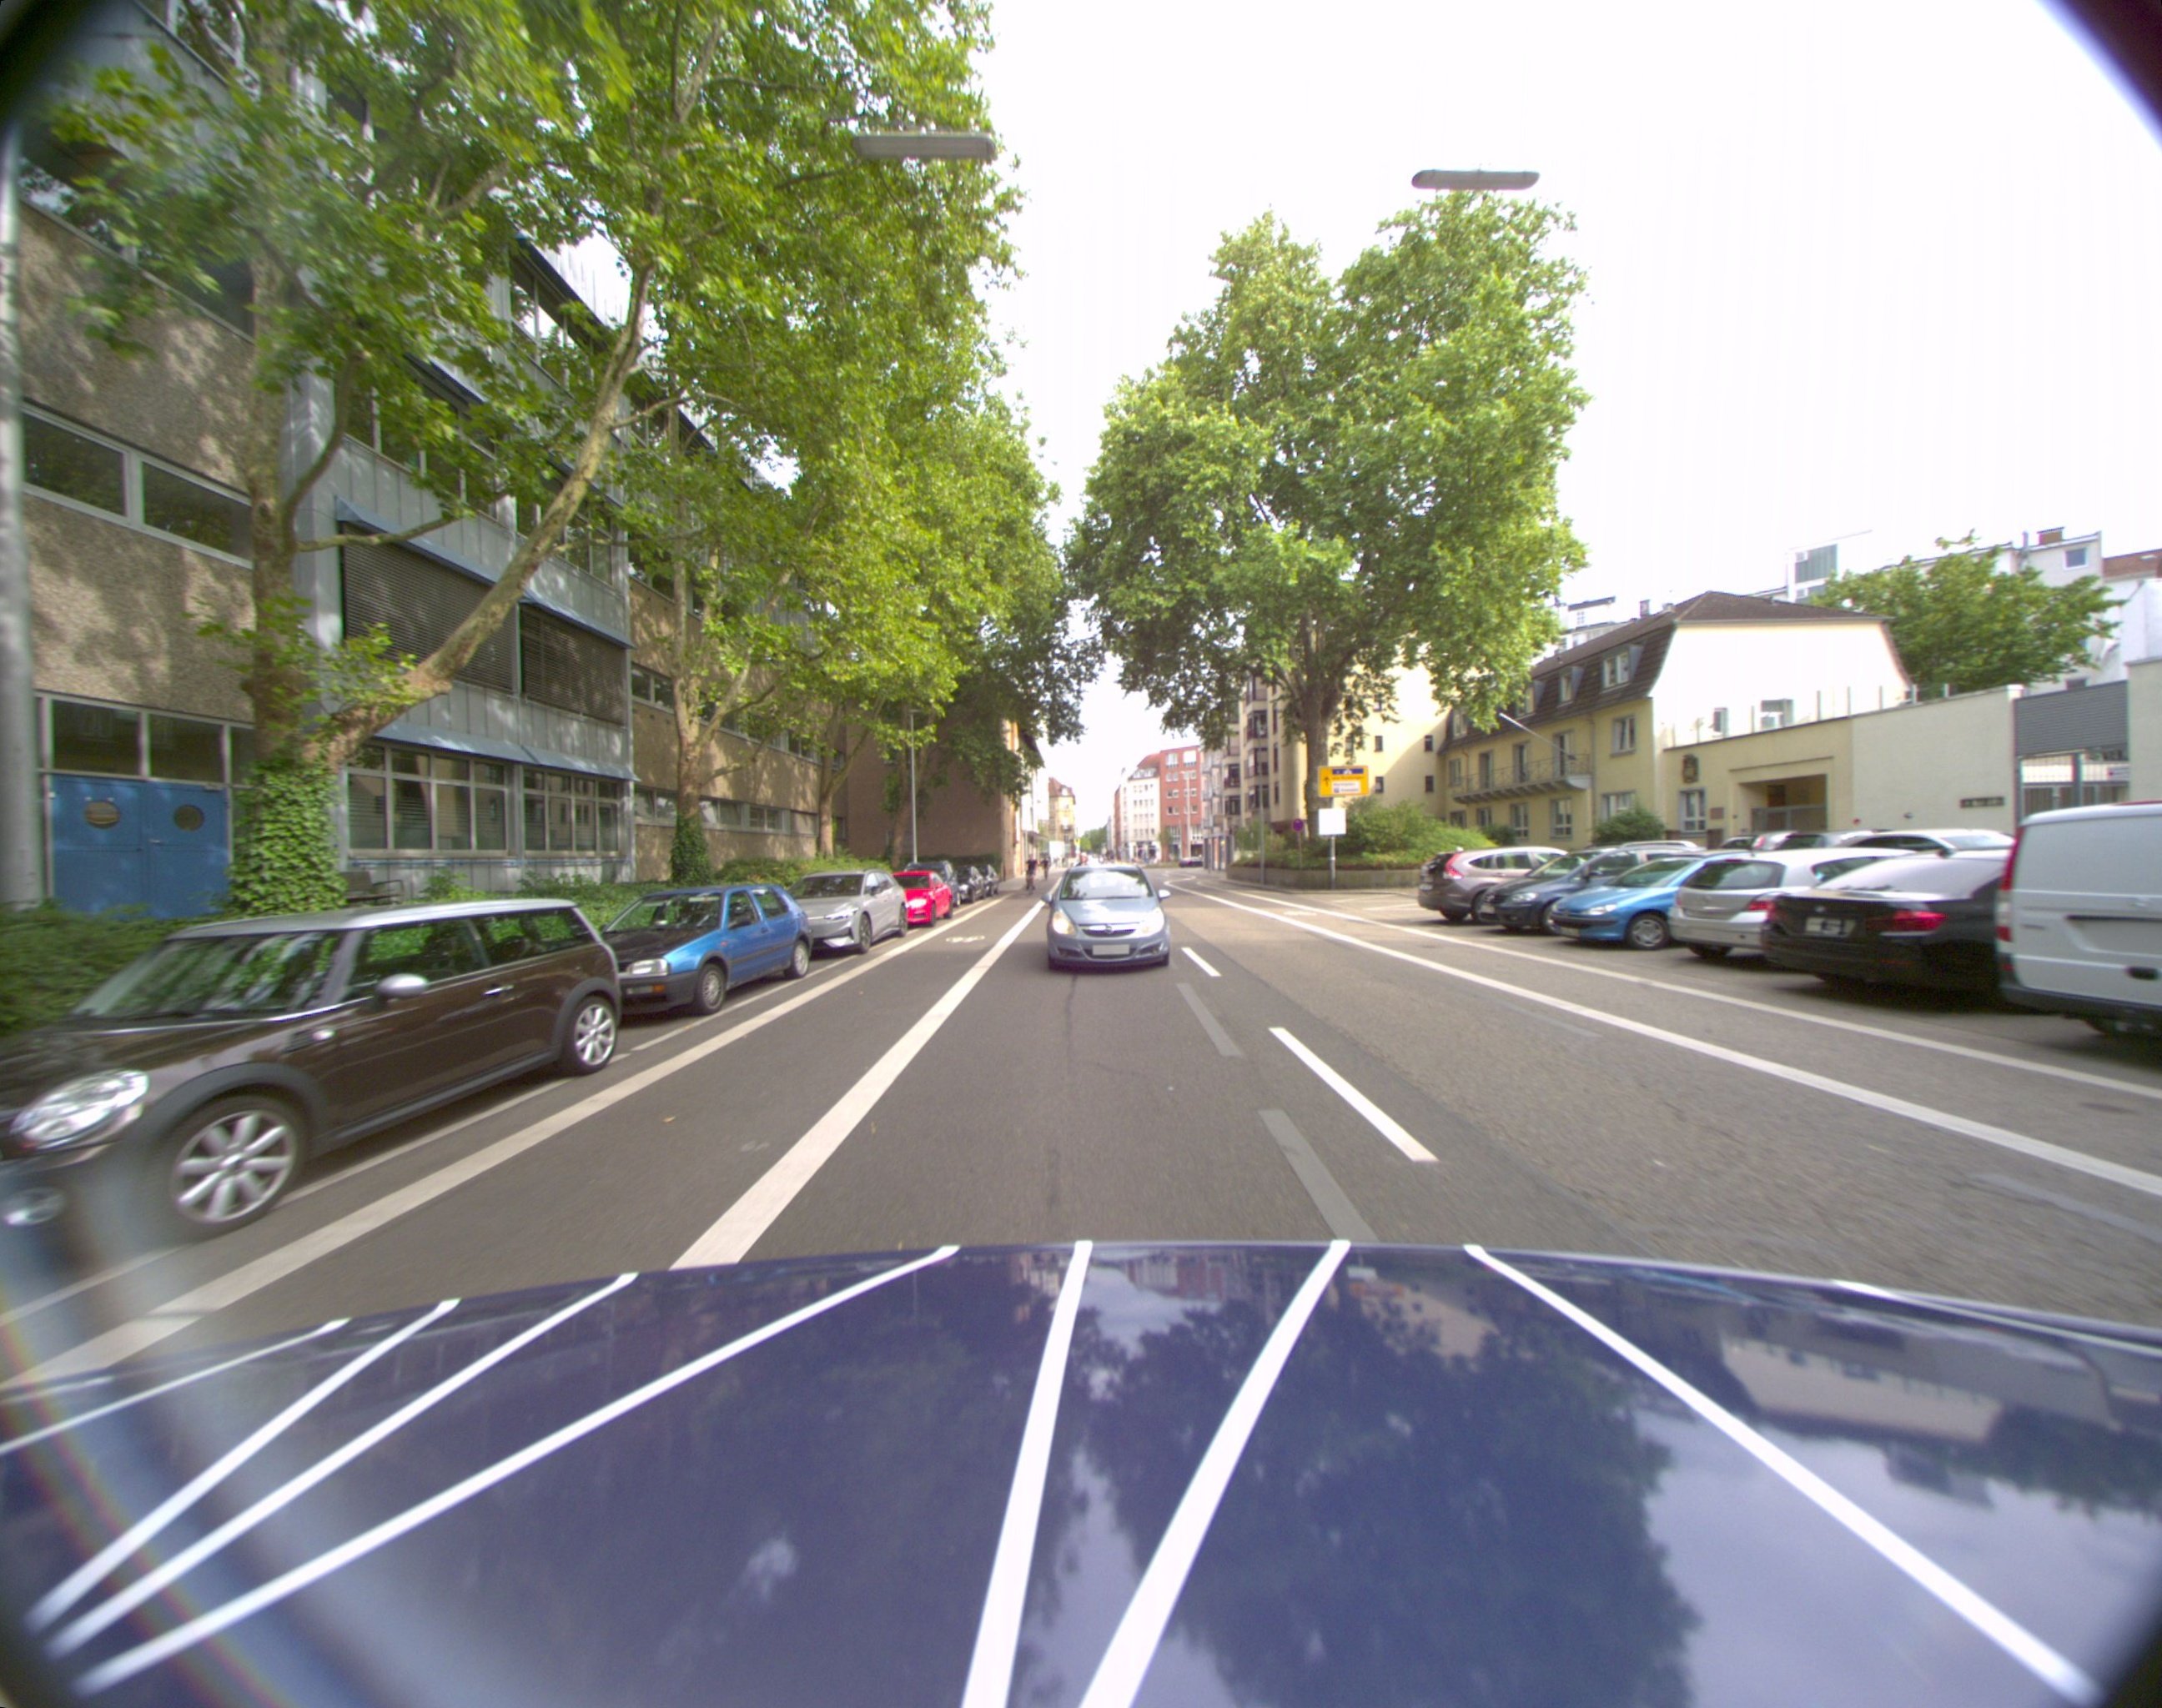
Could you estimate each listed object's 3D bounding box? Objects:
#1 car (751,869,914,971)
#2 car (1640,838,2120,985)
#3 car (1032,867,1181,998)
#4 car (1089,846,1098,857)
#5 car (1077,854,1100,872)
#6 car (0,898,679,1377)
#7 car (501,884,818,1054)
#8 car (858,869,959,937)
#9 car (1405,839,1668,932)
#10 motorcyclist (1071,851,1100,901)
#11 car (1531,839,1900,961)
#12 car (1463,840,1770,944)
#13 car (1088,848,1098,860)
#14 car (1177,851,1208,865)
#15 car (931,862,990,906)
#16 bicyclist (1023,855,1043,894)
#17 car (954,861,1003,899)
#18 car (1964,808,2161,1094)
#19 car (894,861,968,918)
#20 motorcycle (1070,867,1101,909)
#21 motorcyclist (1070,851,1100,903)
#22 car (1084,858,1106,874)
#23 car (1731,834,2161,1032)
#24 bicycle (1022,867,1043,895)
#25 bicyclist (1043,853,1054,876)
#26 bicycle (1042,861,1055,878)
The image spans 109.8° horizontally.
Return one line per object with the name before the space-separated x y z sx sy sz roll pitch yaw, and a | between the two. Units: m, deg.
car | -4.608 1.144 14.838 1.602 1.496 4.440 -3 0 0
car | 9.943 0.673 9.724 4.203 1.443 1.719 -4 0 1
car | 0.318 0.968 11.117 1.717 1.412 4.253 -2 0 0
car | 2.846 -0.567 172.886 1.998 2.620 4.798 -2 0 1
car | 0.652 0.790 69.491 2.000 1.556 4.550 -2 0 0
car | -4.662 1.177 4.849 1.644 1.424 4.573 -3 0 0
car | -4.796 1.198 9.394 1.602 1.414 3.956 -3 0 0
car | -4.419 1.210 20.077 1.602 1.438 4.105 -3 0 0
car | 9.687 0.648 16.426 4.529 1.596 1.754 -4 0 1
motorcyclist | 0.162 0.715 25.029 0.905 1.608 0.691 -1 1 0
car | 9.787 0.681 11.983 4.276 1.502 1.719 -4 0 1
car | 9.758 0.665 14.111 4.372 1.540 1.733 -4 0 1
car | 2.601 -0.073 164.189 1.998 2.546 4.798 -2 0 1
car | 14.445 0.462 98.080 1.967 1.660 4.560 -2 1 38
car | -4.724 1.147 30.345 1.602 1.516 3.956 -3 0 0
bicyclist | -2.153 0.897 34.123 0.764 1.699 0.917 -2 1 0
car | -4.653 1.158 35.058 1.602 1.516 3.956 -3 0 0
car | 9.397 0.506 5.051 4.627 1.848 1.950 -4 0 1
car | -4.996 1.125 25.799 1.651 1.655 3.797 -3 0 0
motorcycle | 0.140 1.053 24.320 0.905 1.190 2.630 -1 0 0
motorcyclist | 0.137 0.724 24.320 0.905 1.608 0.691 -1 1 0
car | 1.552 1.339 84.023 1.934 1.637 4.002 -1 0 7
car | 9.621 0.662 7.490 4.716 1.461 1.874 -4 0 1
bicycle | -2.149 1.208 34.087 0.763 1.162 1.949 -2 0 1
bicyclist | -2.365 0.756 55.367 0.749 1.590 0.819 -2 1 1
bicycle | -2.361 1.125 55.365 0.763 1.162 1.949 -2 0 1
